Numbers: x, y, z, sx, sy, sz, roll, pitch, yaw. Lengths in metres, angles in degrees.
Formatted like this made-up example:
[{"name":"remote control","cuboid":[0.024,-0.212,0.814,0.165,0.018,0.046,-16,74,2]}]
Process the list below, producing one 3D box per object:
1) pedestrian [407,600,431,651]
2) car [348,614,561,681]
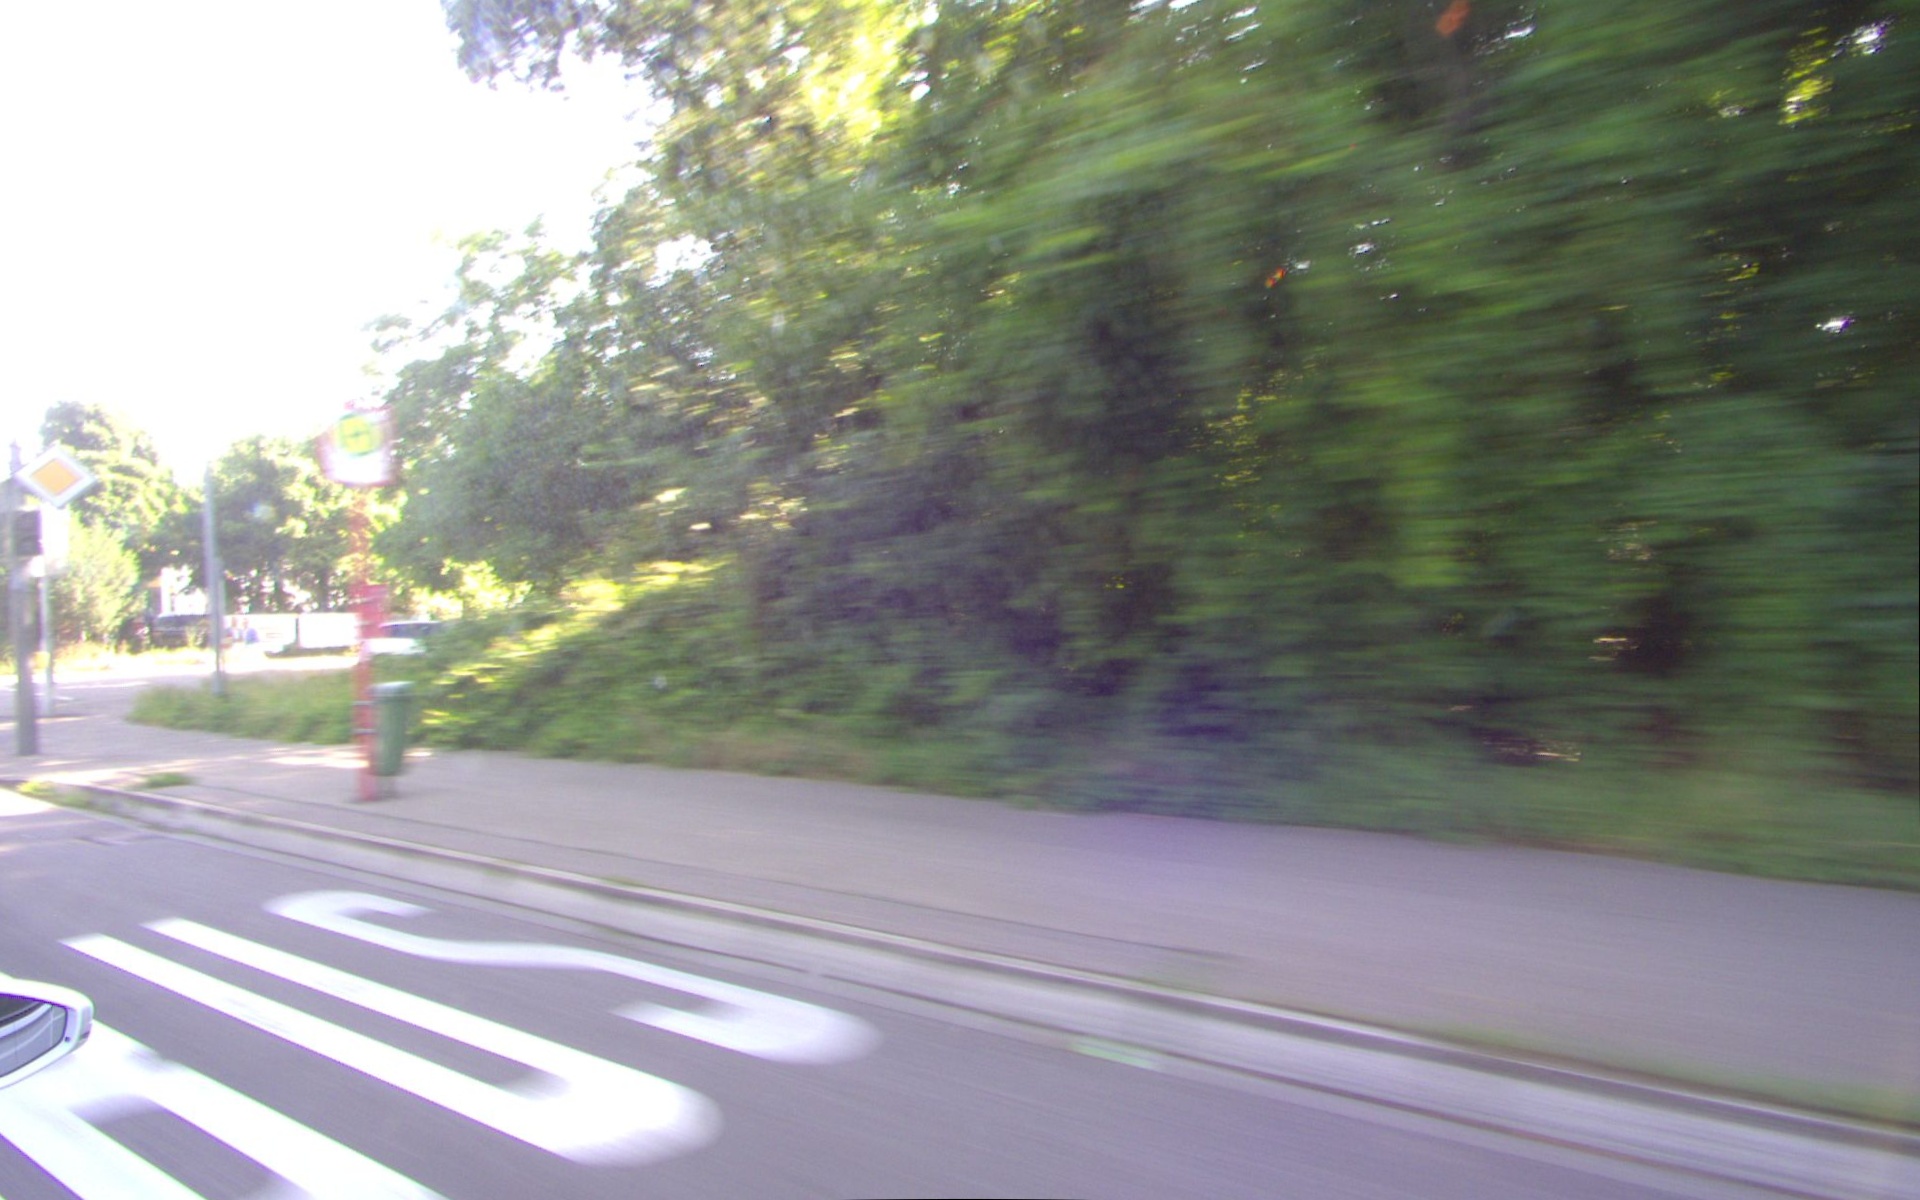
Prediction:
[{"name":"pedestrian","cuboid":[-17.620,0.824,32.604,0.601,1.651,0.412,-2,1,-32]},{"name":"car","cuboid":[-12.129,1.128,24.107,4.528,1.483,1.627,-1,1,12]}]
